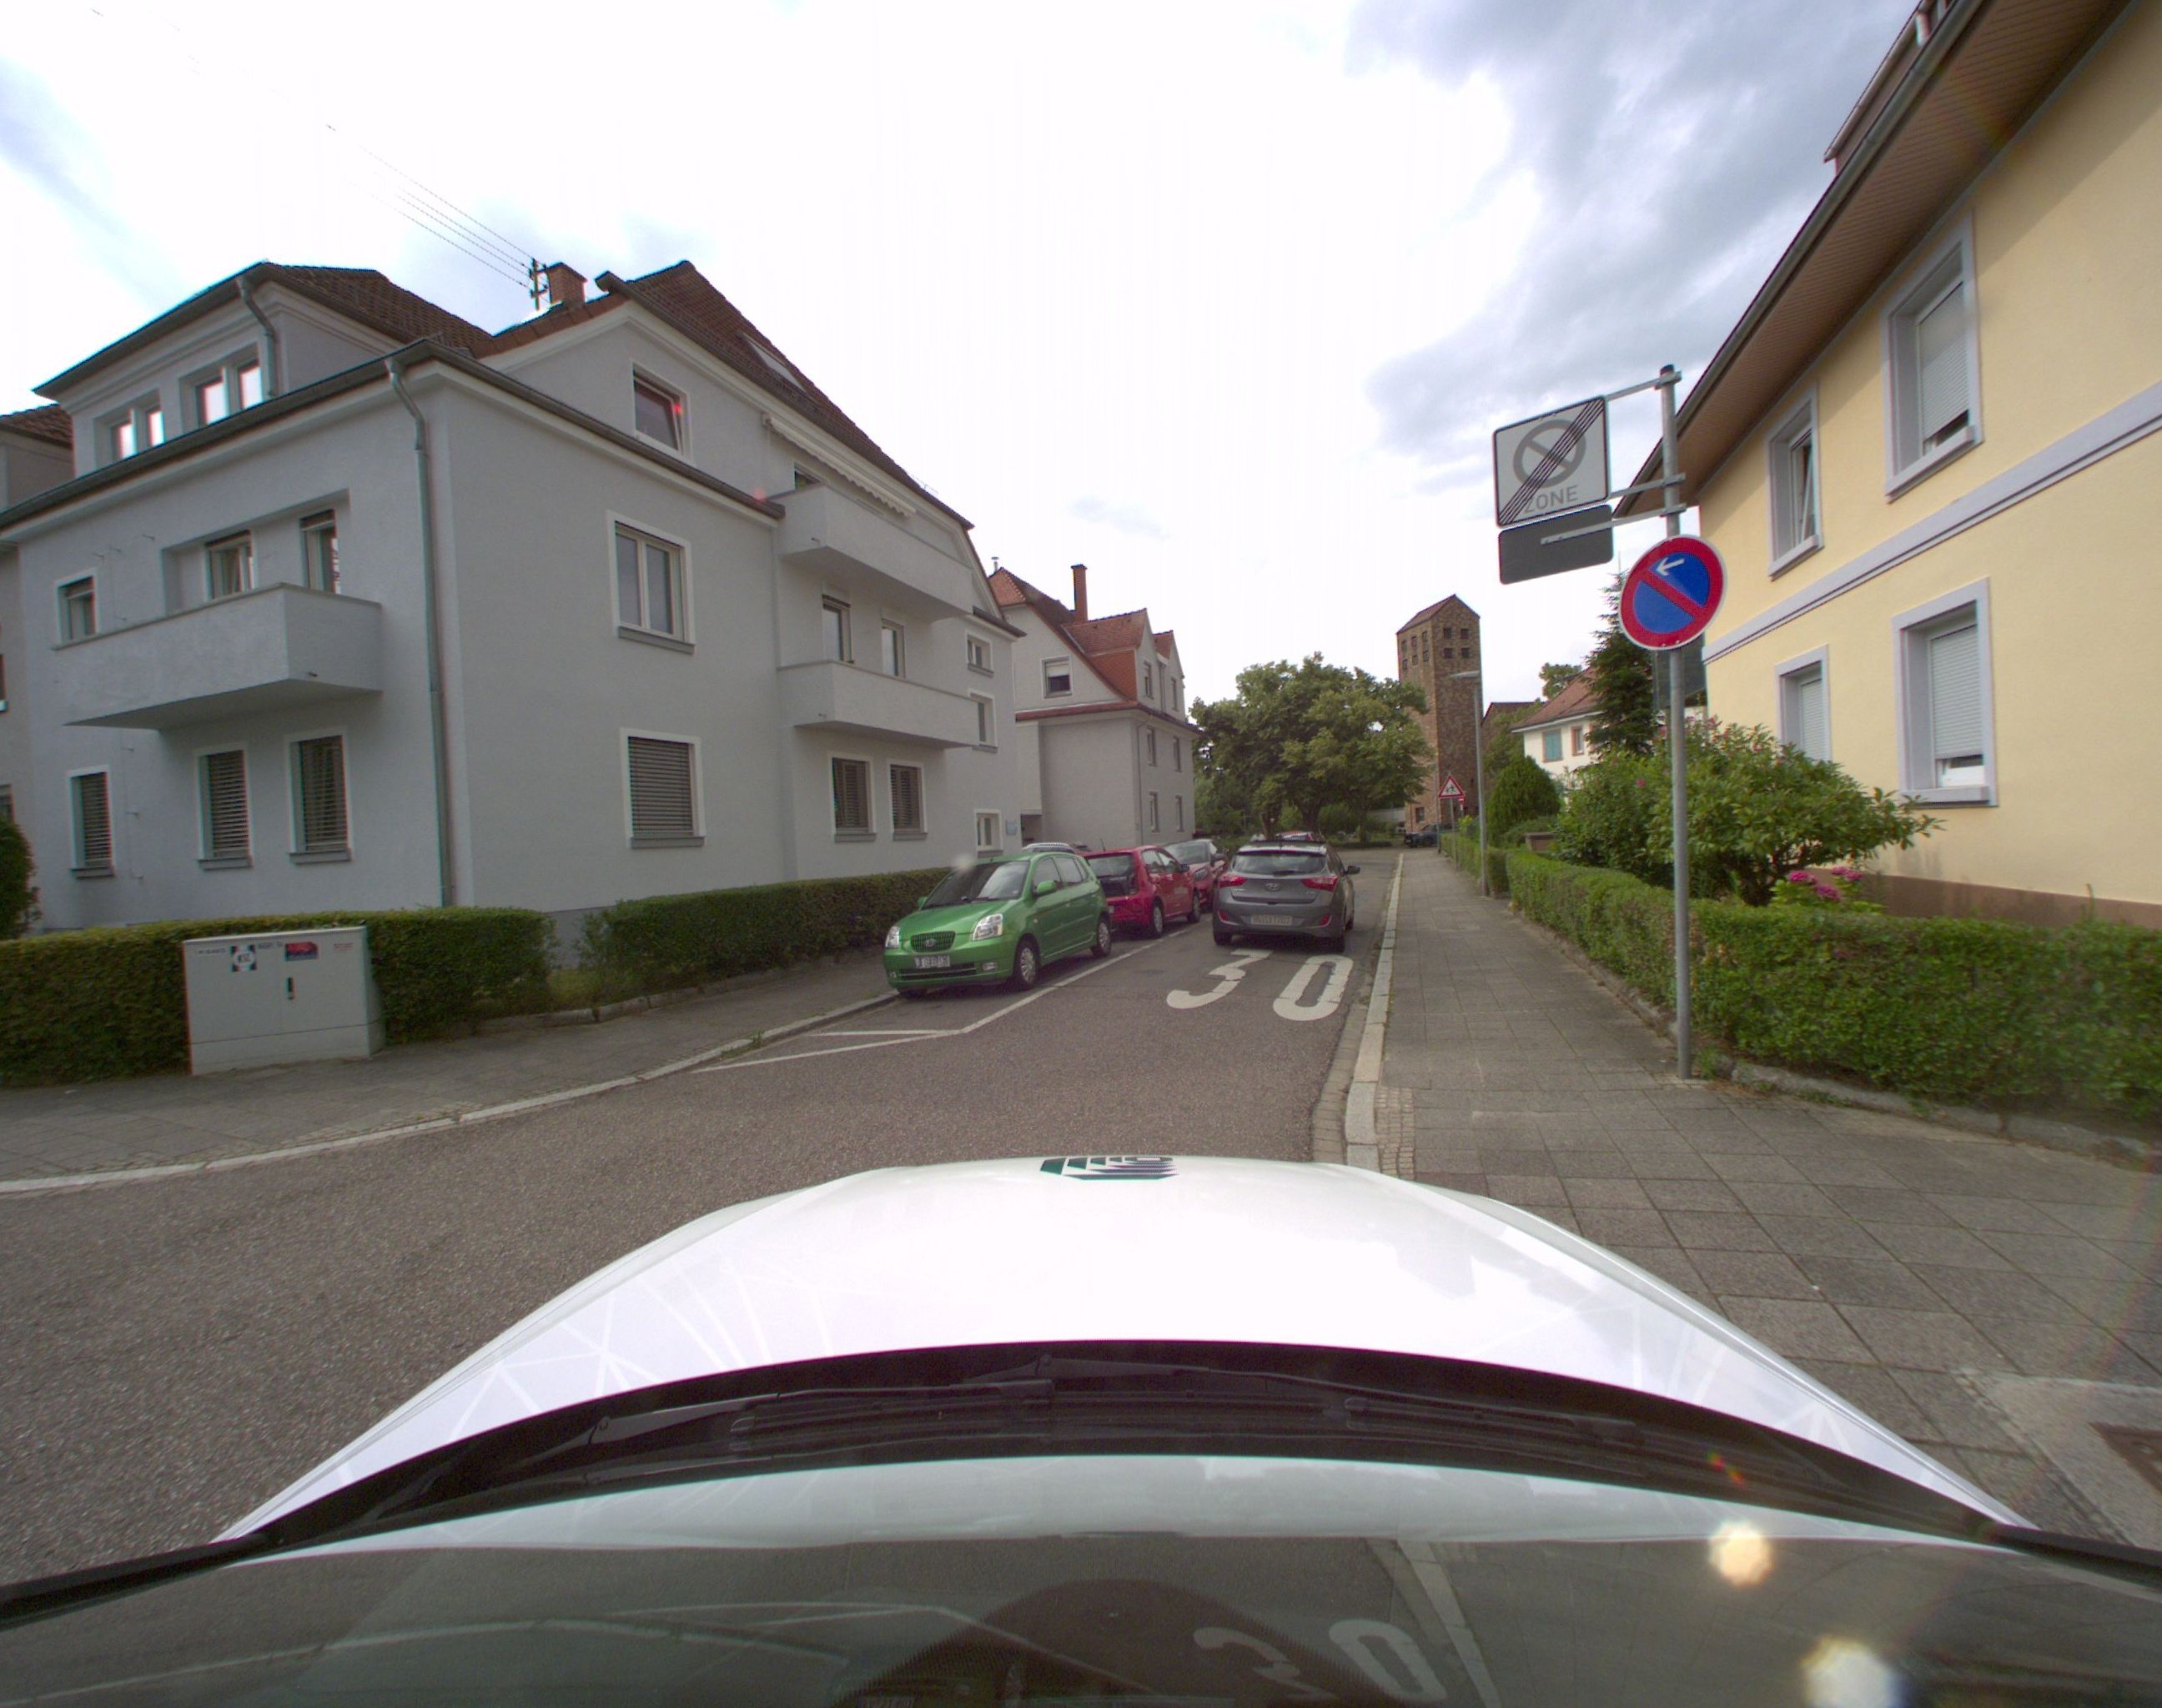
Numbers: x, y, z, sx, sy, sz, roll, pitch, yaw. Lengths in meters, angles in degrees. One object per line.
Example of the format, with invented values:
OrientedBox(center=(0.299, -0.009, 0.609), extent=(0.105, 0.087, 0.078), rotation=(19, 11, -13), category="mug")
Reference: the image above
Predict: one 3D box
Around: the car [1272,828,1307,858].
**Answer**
OrientedBox(center=(11.726, -0.609, 45.980), extent=(1.635, 1.495, 3.493), rotation=(-6, -1, 11), category="car")

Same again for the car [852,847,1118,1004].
OrientedBox(center=(-0.954, 0.740, 9.939), extent=(1.631, 1.422, 3.500), rotation=(-6, -1, 21), category="car")

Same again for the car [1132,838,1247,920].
OrientedBox(center=(2.511, 0.490, 18.151), extent=(1.631, 1.495, 3.500), rotation=(-6, -1, 21), category="car")

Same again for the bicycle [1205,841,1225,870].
OrientedBox(center=(5.456, 0.059, 33.031), extent=(0.418, 1.103, 2.125), rotation=(-3, 1, 18), category="bicycle")

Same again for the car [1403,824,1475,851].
OrientedBox(center=(23.256, -1.088, 53.001), extent=(4.177, 1.463, 1.693), rotation=(-2, 2, 21), category="car")

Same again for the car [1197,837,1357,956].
OrientedBox(center=(3.179, 0.510, 12.570), extent=(1.833, 1.480, 4.063), rotation=(-1, 2, 21), category="car")

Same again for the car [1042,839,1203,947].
OrientedBox(center=(0.859, 0.592, 14.143), extent=(1.631, 1.495, 3.500), rotation=(-6, -1, 21), category="car")

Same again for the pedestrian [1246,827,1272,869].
OrientedBox(center=(8.147, -0.295, 37.253), extent=(0.873, 1.878, 1.085), rotation=(-3, 1, 22), category="pedestrian")

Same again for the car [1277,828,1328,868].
OrientedBox(center=(9.658, -0.296, 35.367), extent=(1.631, 1.495, 3.500), rotation=(-6, -1, 21), category="car")

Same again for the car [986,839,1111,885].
OrientedBox(center=(-1.154, 0.291, 29.506), extent=(3.952, 1.464, 2.011), rotation=(-3, 1, 22), category="car")
